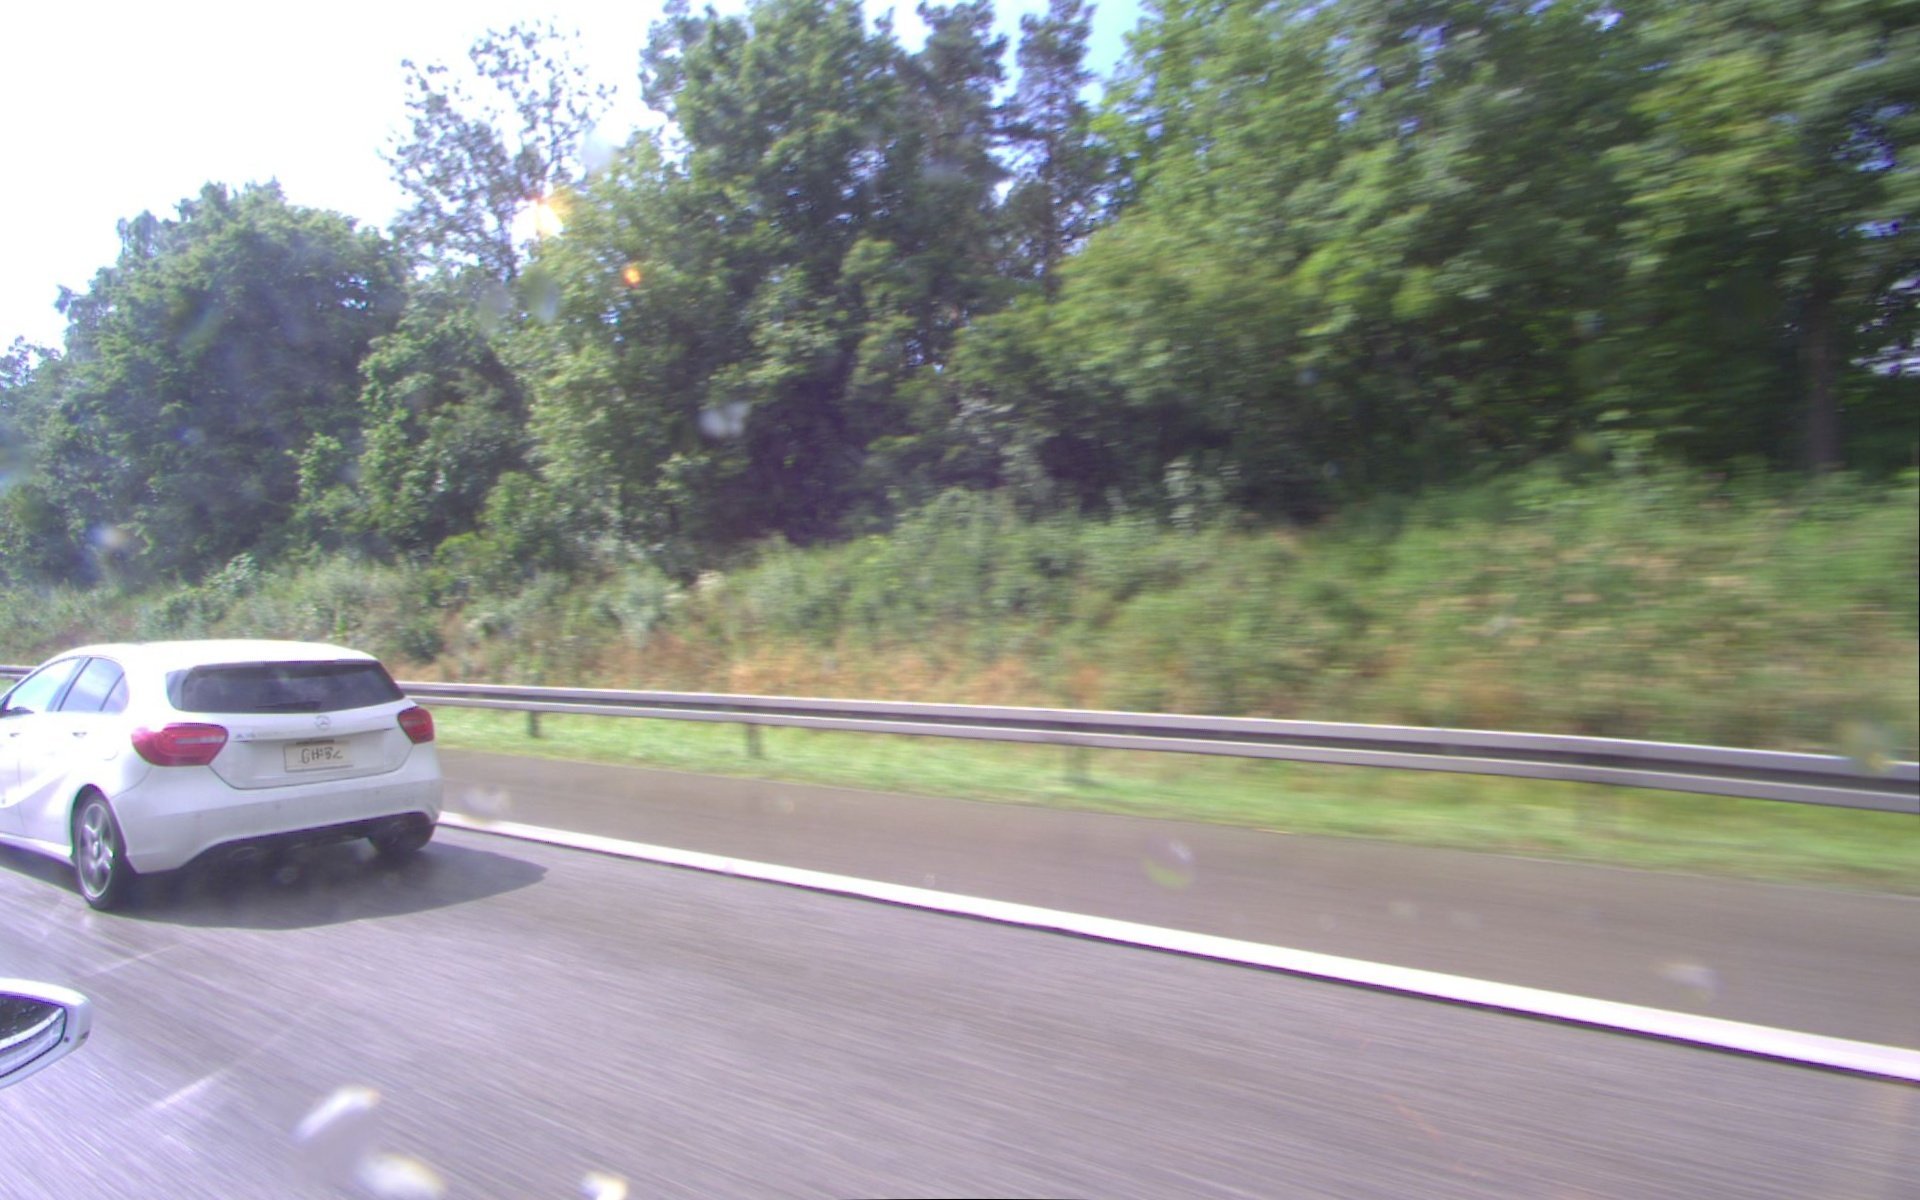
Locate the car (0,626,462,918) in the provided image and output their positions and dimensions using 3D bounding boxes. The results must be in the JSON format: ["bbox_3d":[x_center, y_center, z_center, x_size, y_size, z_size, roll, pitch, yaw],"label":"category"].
[{"bbox_3d":[-5.379,0.920,6.805,4.160,1.443,1.689,-1,-2,33],"label":"car"}]
